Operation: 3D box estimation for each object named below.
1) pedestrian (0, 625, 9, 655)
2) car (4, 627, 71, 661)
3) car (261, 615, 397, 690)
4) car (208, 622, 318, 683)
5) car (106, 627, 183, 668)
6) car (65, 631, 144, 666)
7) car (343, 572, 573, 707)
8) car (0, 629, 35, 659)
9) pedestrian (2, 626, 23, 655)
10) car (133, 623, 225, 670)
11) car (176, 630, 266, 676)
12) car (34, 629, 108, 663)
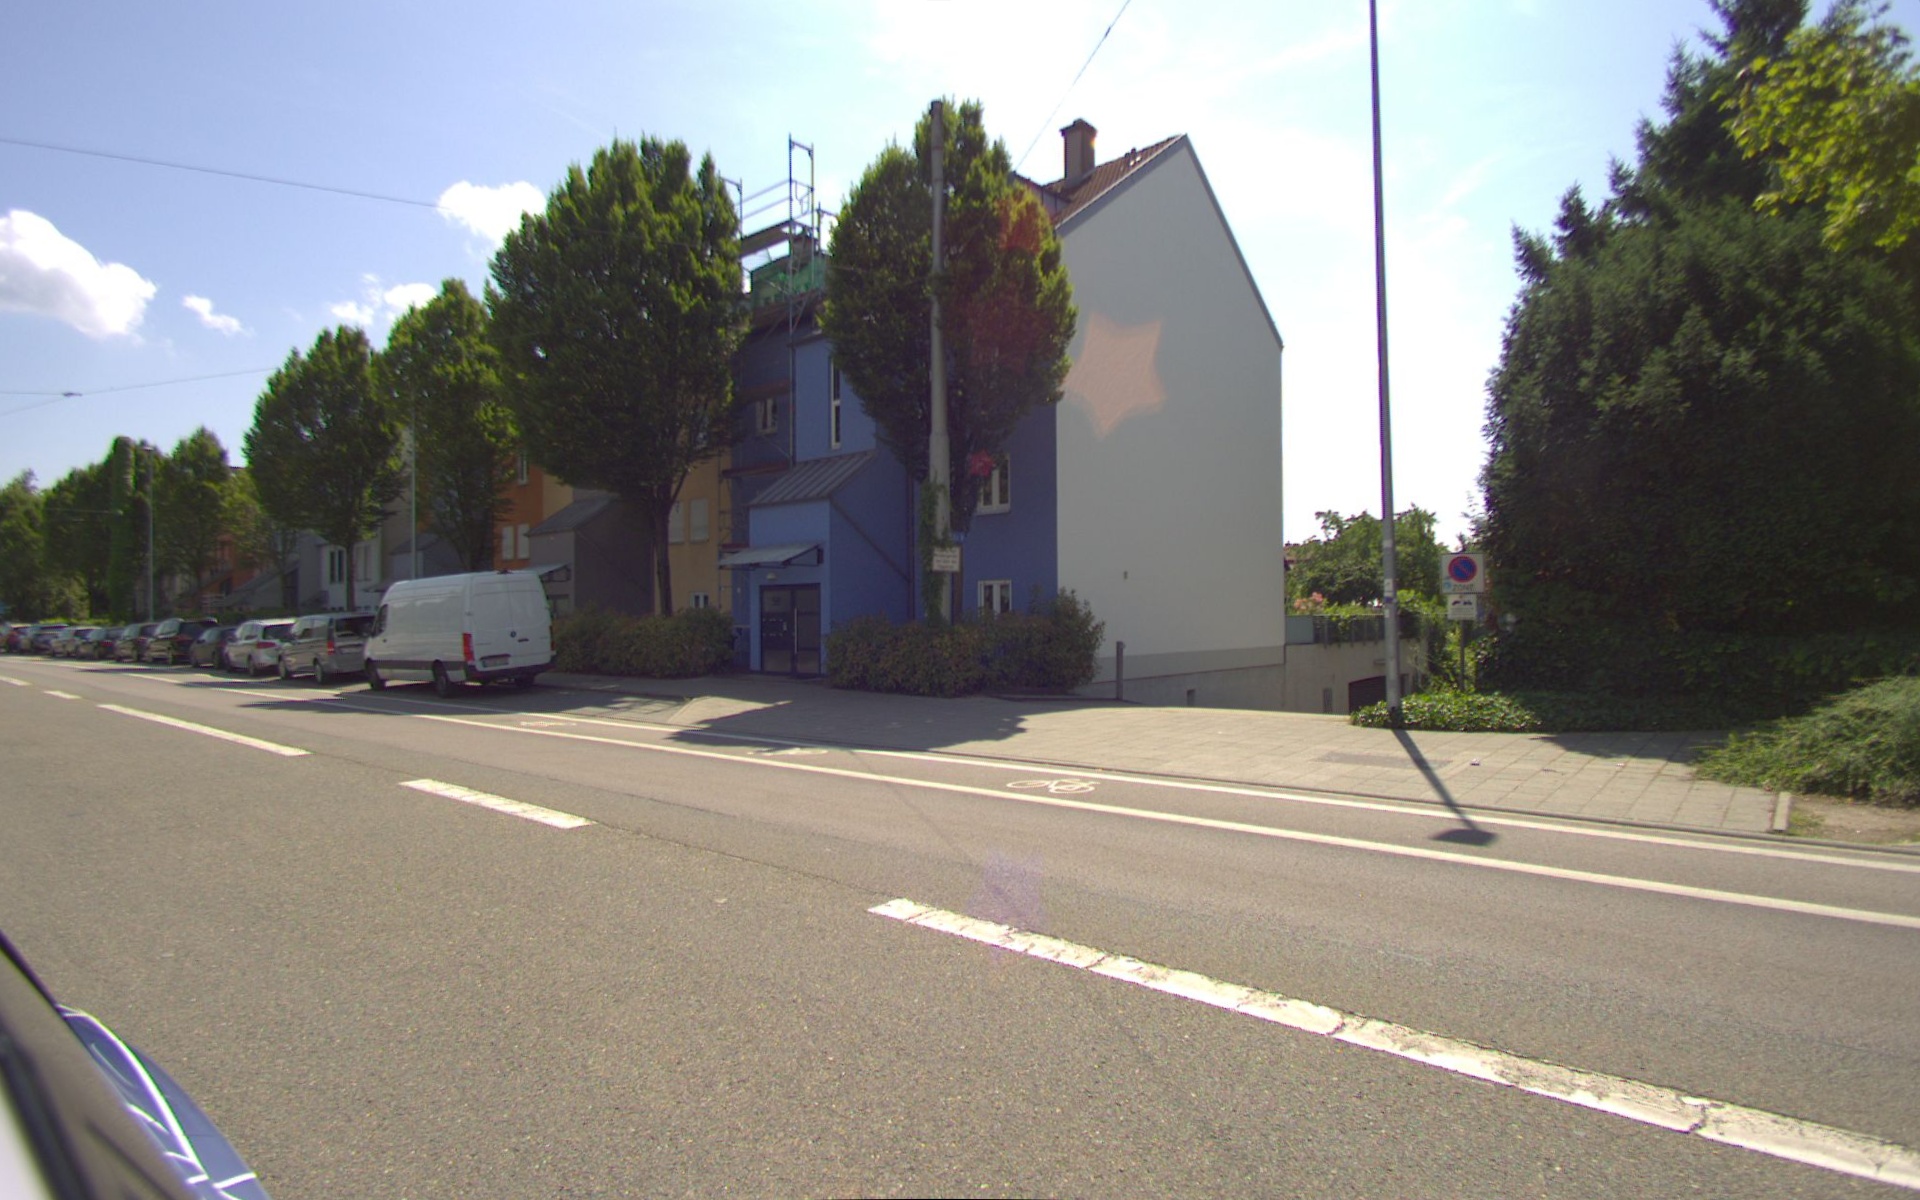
[{"bbox_3d":[-61.737,2.581,65.057,0.633,1.937,0.710,0,-2,-14],"label":"pedestrian"},{"bbox_3d":[-48.757,2.308,53.468,4.677,1.621,1.641,-2,1,36],"label":"car"},{"bbox_3d":[-18.250,1.459,29.167,5.359,1.909,1.788,-2,1,41],"label":"car"},{"bbox_3d":[-22.573,1.652,32.689,4.900,1.765,1.699,-2,-1,40],"label":"car"},{"bbox_3d":[-34.651,1.985,42.969,4.279,1.630,1.639,-1,-2,38],"label":"car"},{"bbox_3d":[-39.498,2.214,46.671,4.955,1.457,1.726,-2,0,37],"label":"car"},{"bbox_3d":[-12.009,0.870,23.886,7.033,2.670,2.299,-2,2,42],"label":"car"},{"bbox_3d":[-53.571,2.449,56.641,4.161,1.621,1.642,-1,-1,33],"label":"car"},{"bbox_3d":[-60.842,2.584,65.000,0.695,1.808,0.683,-1,-2,6],"label":"pedestrian"},{"bbox_3d":[-30.590,1.798,39.594,4.881,1.729,1.734,-2,-2,38],"label":"car"},{"bbox_3d":[-26.500,1.844,36.256,4.082,1.482,1.583,0,-1,38],"label":"car"},{"bbox_3d":[-44.376,2.261,50.493,4.885,1.519,1.641,-1,2,35],"label":"car"}]
